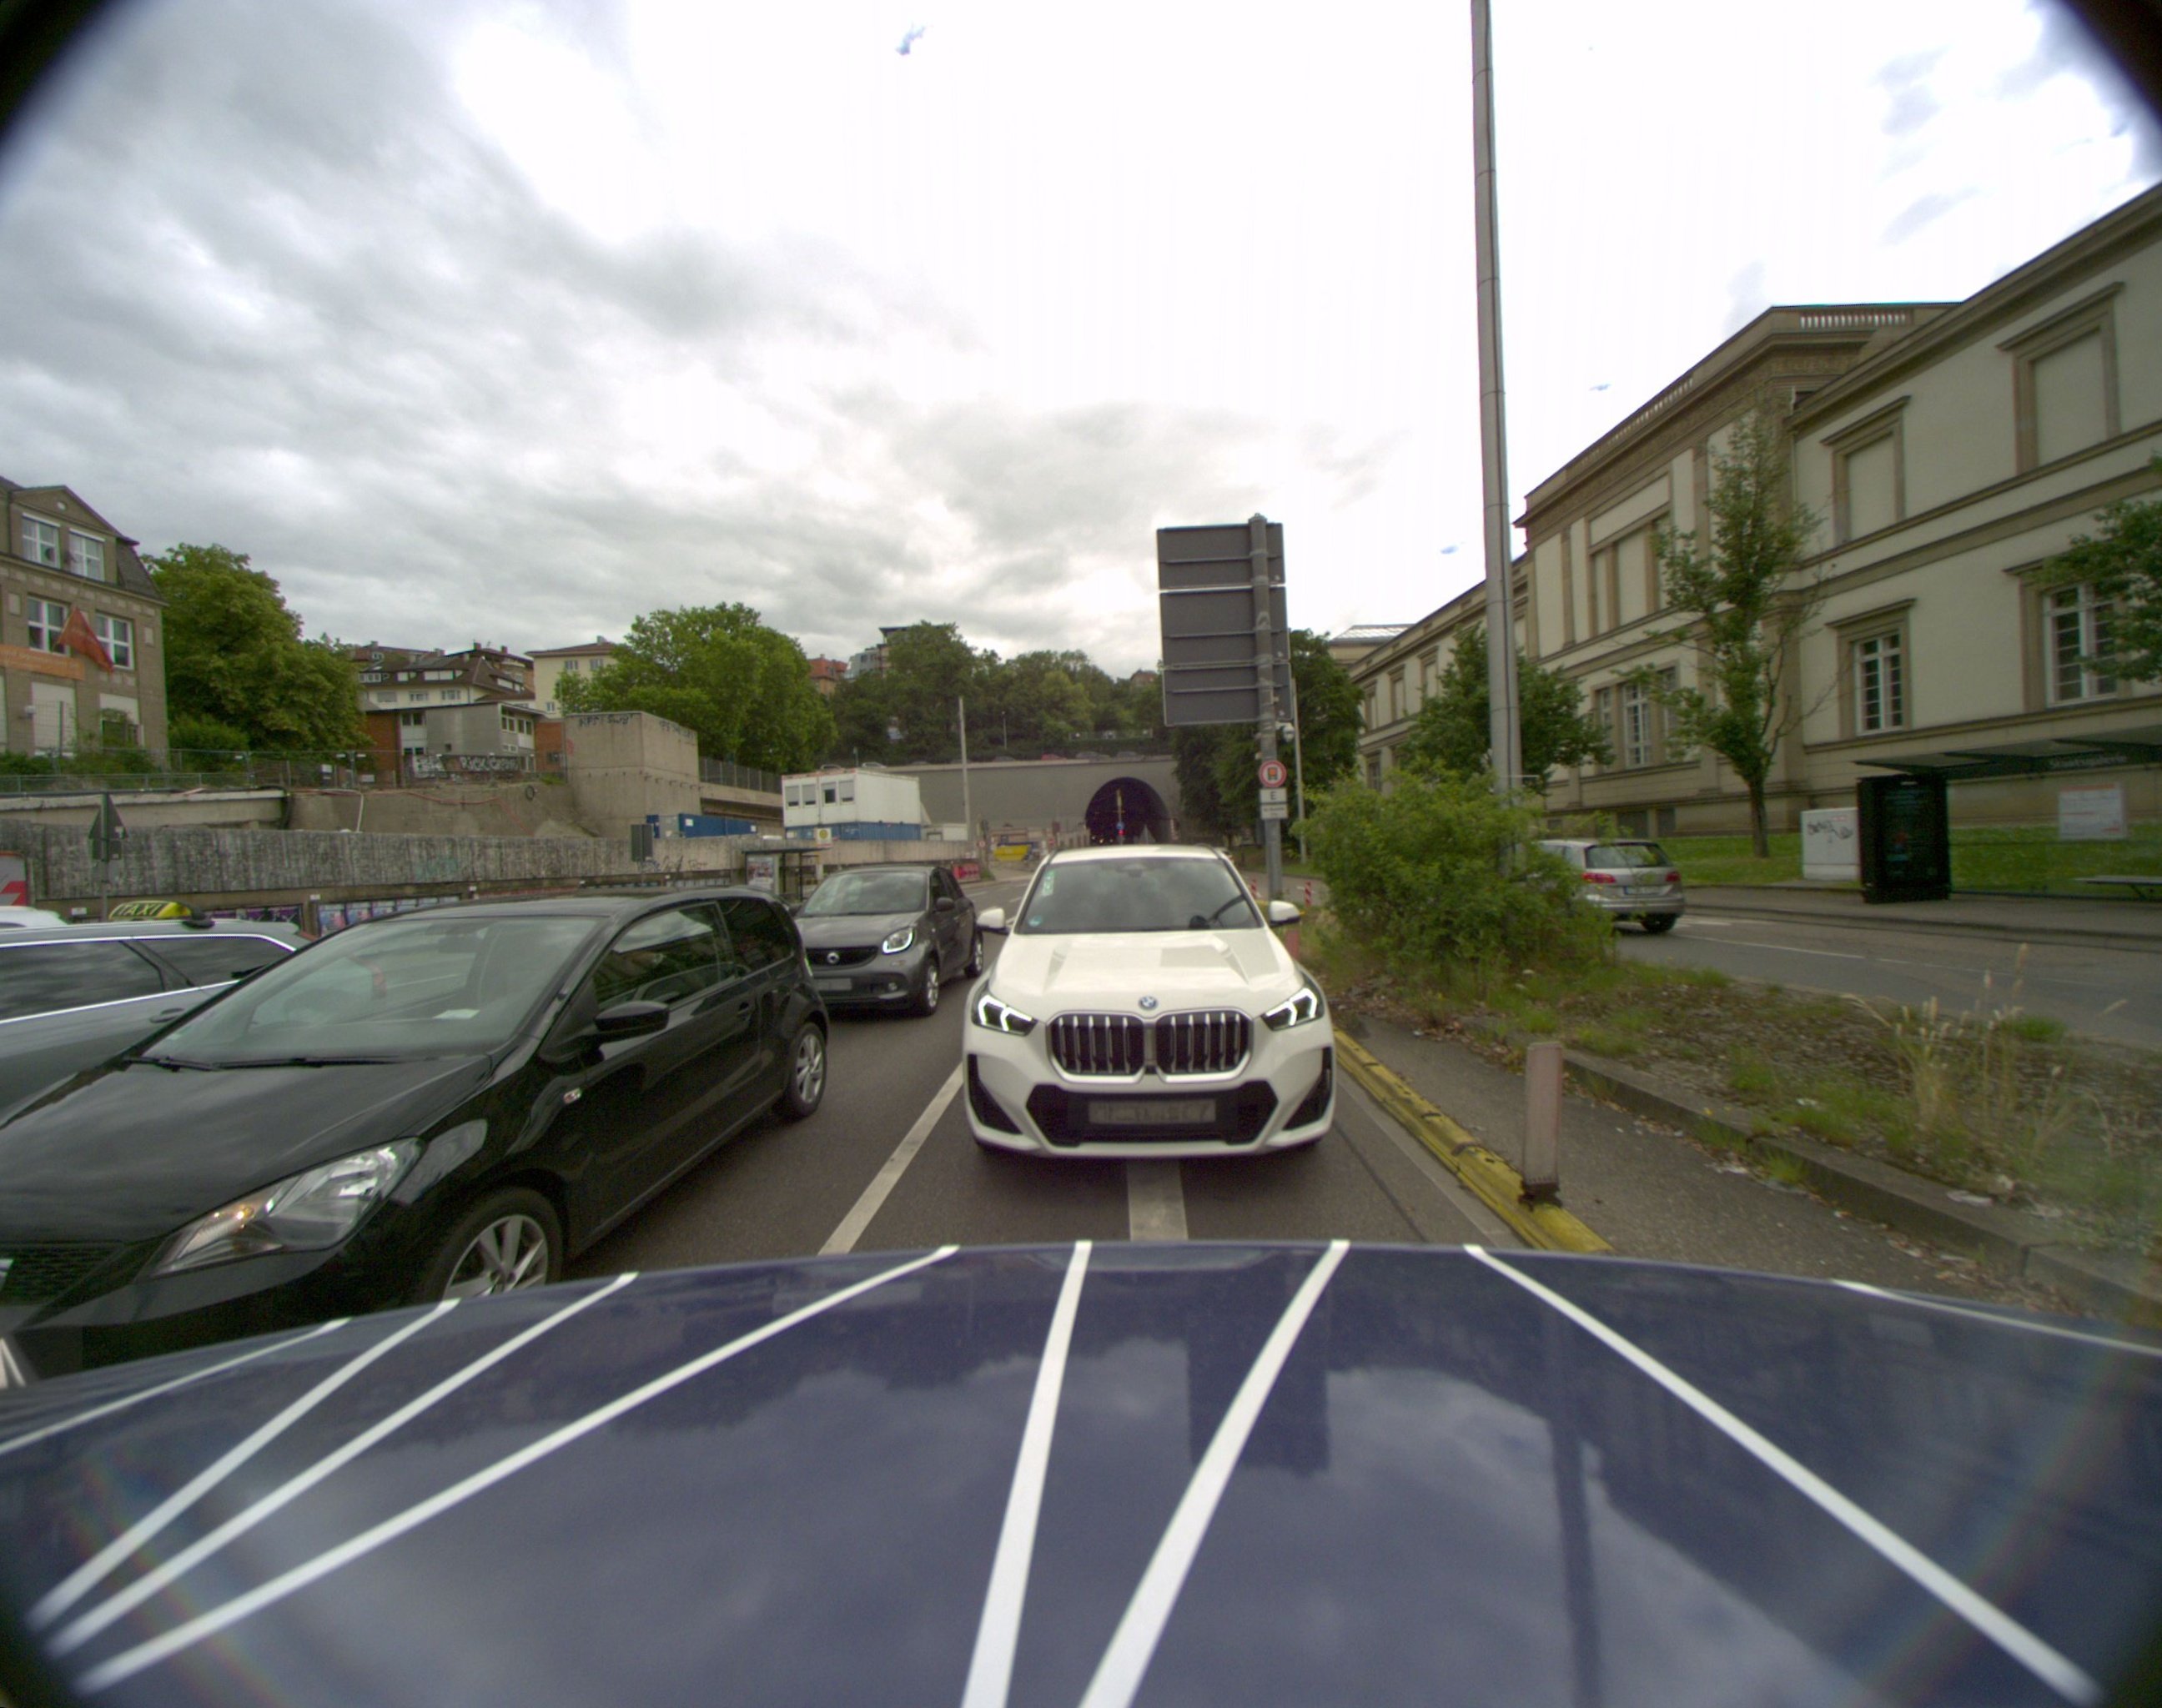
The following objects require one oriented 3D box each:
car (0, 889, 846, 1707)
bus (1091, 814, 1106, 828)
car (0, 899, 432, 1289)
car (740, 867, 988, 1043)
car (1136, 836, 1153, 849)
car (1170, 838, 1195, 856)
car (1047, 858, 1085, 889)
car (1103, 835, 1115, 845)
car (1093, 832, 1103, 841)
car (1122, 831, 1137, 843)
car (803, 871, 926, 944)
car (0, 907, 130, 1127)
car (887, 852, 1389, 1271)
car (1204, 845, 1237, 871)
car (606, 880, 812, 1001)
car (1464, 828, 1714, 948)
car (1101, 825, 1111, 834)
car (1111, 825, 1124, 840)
[{"bbox_3d":[-2.573,1.017,3.343,1.829,1.450,3.700,-2,1,1],"label":"car"},{"bbox_3d":[4.393,-8.325,192.587,3.171,3.129,9.118,-2,1,-1],"label":"bus"},{"bbox_3d":[-5.858,1.207,3.304,1.829,1.615,4.808,-2,1,1],"label":"car"},{"bbox_3d":[-2.255,0.979,8.892,1.720,1.535,3.575,-2,0,2],"label":"car"},{"bbox_3d":[7.883,-1.439,94.388,1.646,1.469,3.574,-2,0,-2],"label":"car"},{"bbox_3d":[10.065,-0.741,75.770,1.875,1.681,4.267,-2,1,0],"label":"car"},{"bbox_3d":[-0.743,0.982,39.646,1.680,1.450,3.807,-2,1,3],"label":"car"},{"bbox_3d":[3.988,-1.963,108.347,1.680,1.358,3.806,-2,1,1],"label":"car"},{"bbox_3d":[2.855,-2.878,127.179,1.680,1.358,3.806,-2,1,1],"label":"car"},{"bbox_3d":[7.082,-2.513,111.441,1.778,1.609,3.802,-2,1,-1],"label":"car"},{"bbox_3d":[-4.920,1.163,17.813,1.680,1.358,3.806,-2,1,1],"label":"car"},{"bbox_3d":[-9.108,1.319,4.445,1.680,1.615,4.209,-2,1,1],"label":"car"},{"bbox_3d":[0.260,0.847,4.930,1.987,1.615,3.670,-2,1,1],"label":"car"},{"bbox_3d":[9.404,0.272,51.505,1.902,1.615,4.109,-2,0,7],"label":"car"},{"bbox_3d":[-5.397,1.191,11.410,1.665,1.423,2.714,-2,1,1],"label":"car"},{"bbox_3d":[8.641,0.483,13.408,1.836,1.736,4.000,-2,1,3],"label":"car"},{"bbox_3d":[5.377,-5.244,161.079,1.946,1.714,4.000,-2,1,4],"label":"car"},{"bbox_3d":[6.487,-3.787,134.507,2.203,2.493,4.758,-2,1,2],"label":"car"}]
